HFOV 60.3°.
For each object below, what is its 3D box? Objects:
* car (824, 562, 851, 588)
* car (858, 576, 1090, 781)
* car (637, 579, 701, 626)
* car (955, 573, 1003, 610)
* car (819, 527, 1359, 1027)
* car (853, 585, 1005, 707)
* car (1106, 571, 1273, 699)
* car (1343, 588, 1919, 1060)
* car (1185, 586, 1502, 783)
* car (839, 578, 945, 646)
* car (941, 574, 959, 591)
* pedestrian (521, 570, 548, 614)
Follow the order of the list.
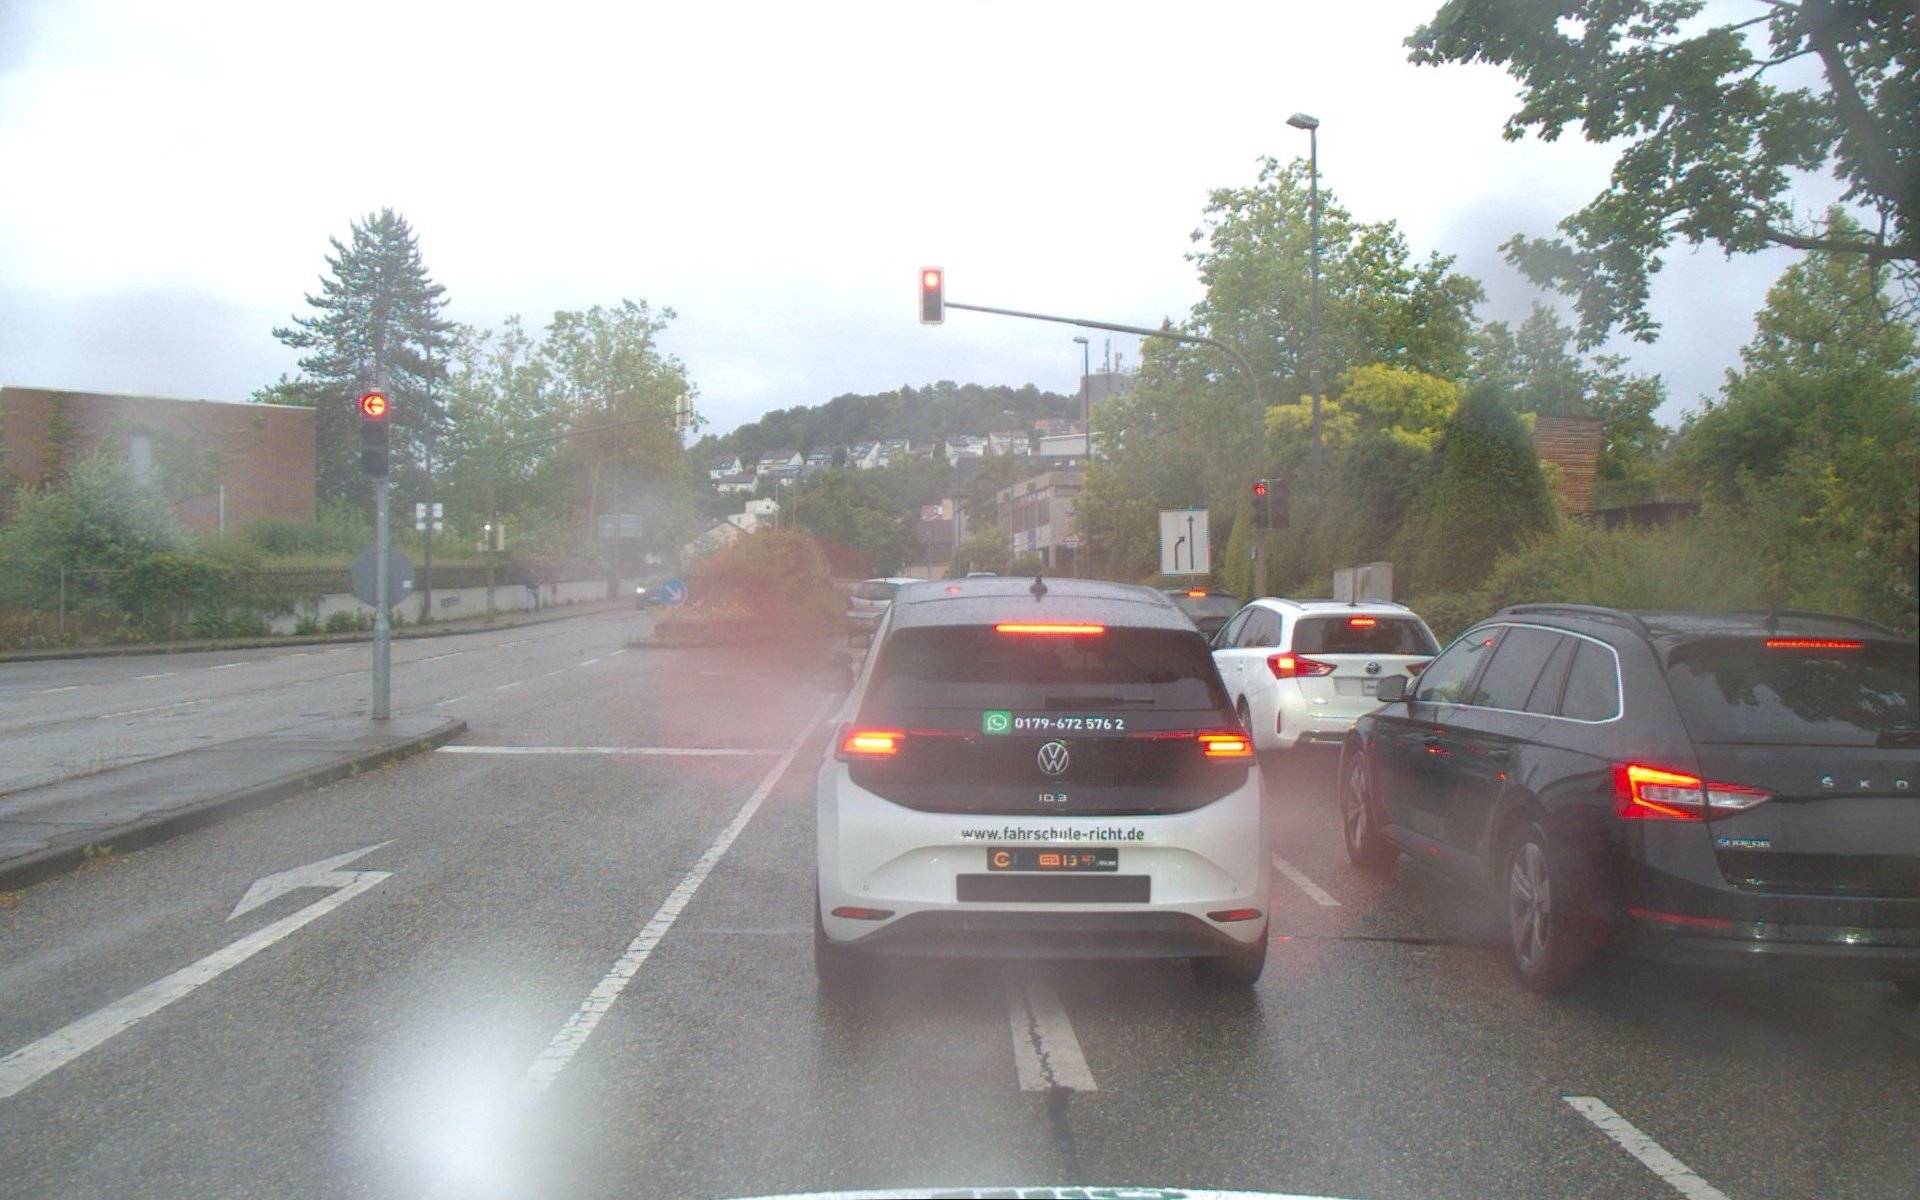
[{"bbox_3d":[-10.373,-2.086,140.066,1.953,2.049,3.999,1,-1,-1],"label":"car"},{"bbox_3d":[0.061,0.598,15.190,1.800,1.582,4.174,1,1,-1],"label":"car"},{"bbox_3d":[-12.123,0.087,69.159,1.953,1.836,3.999,-3,0,-1],"label":"car"},{"bbox_3d":[0.752,-0.355,67.325,1.726,1.443,3.747,-1,1,-3],"label":"car"},{"bbox_3d":[0.387,0.580,7.917,1.800,1.657,4.614,1,1,-1],"label":"car"},{"bbox_3d":[-0.421,0.540,21.981,1.800,1.424,3.830,1,1,-1],"label":"car"},{"bbox_3d":[3.150,0.456,23.422,1.739,1.609,3.999,1,0,-1],"label":"car"},{"bbox_3d":[3.138,0.722,7.526,1.800,1.492,4.350,1,1,1],"label":"car"},{"bbox_3d":[3.285,0.647,15.003,1.800,1.492,4.116,1,1,-1],"label":"car"},{"bbox_3d":[-1.550,0.266,39.035,1.547,1.492,4.003,-1,0,12],"label":"car"},{"bbox_3d":[-1.058,-1.834,173.296,1.739,1.609,3.999,-2,0,-1],"label":"car"},{"bbox_3d":[-15.738,-0.302,61.183,0.744,1.595,0.825,-2,0,-2],"label":"pedestrian"}]
